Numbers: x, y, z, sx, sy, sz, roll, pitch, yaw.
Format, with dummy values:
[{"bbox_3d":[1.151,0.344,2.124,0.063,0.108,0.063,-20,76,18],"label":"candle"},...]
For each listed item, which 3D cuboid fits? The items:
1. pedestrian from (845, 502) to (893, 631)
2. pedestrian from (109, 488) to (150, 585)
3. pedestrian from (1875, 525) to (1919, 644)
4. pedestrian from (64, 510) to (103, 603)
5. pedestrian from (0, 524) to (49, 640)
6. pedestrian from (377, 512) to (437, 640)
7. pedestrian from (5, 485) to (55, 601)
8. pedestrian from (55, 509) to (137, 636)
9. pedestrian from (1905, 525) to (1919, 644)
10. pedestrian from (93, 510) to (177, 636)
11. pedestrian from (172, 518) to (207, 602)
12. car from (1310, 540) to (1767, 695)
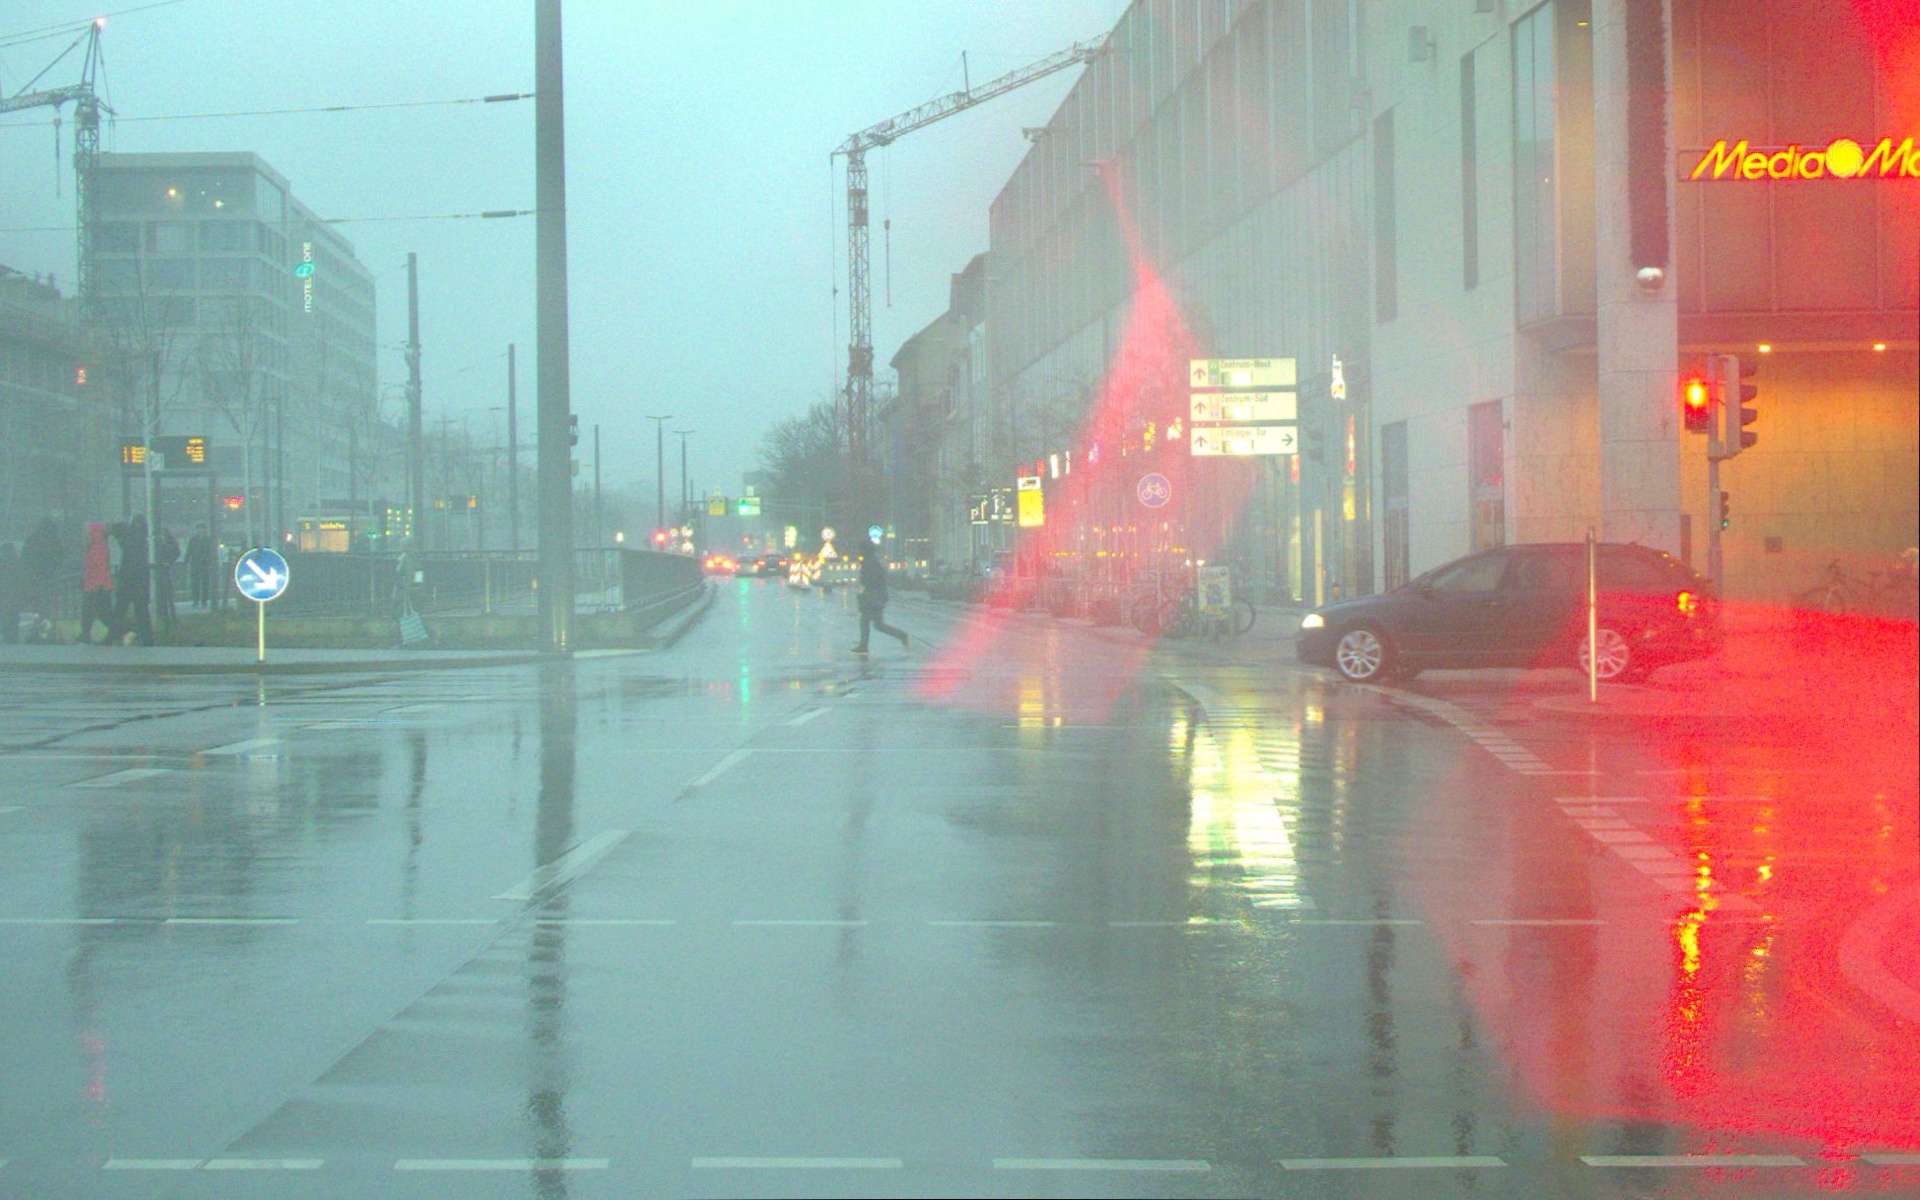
[{"bbox_3d":[-1.260,-0.466,47.419,0.633,1.766,0.484,-1,1,-2],"label":"pedestrian"},{"bbox_3d":[-15.209,-1.162,62.989,0.660,1.740,0.736,-1,1,-11],"label":"pedestrian"},{"bbox_3d":[13.726,-0.229,50.195,0.536,1.712,0.501,0,1,37],"label":"pedestrian"},{"bbox_3d":[-16.603,-0.820,65.131,0.611,1.740,0.621,-1,1,-6],"label":"pedestrian"},{"bbox_3d":[-13.216,-0.257,48.378,0.743,1.602,0.812,-1,1,-14],"label":"pedestrian"},{"bbox_3d":[-7.664,-0.338,47.635,0.703,1.754,0.652,-1,1,-1],"label":"pedestrian"},{"bbox_3d":[-14.134,-0.864,52.269,0.619,1.740,0.613,-1,1,-6],"label":"pedestrian"},{"bbox_3d":[-11.552,-0.368,45.978,0.832,1.673,0.618,-1,1,28],"label":"pedestrian"},{"bbox_3d":[13.682,-0.220,48.177,0.741,1.661,0.400,-1,1,0],"label":"pedestrian"},{"bbox_3d":[-11.172,-0.366,46.549,0.844,1.682,0.676,-1,1,23],"label":"pedestrian"},{"bbox_3d":[-15.998,-0.831,71.399,0.660,1.740,0.621,-1,1,-11],"label":"pedestrian"},{"bbox_3d":[6.164,0.178,36.590,4.541,1.568,1.795,0,1,20],"label":"car"}]
